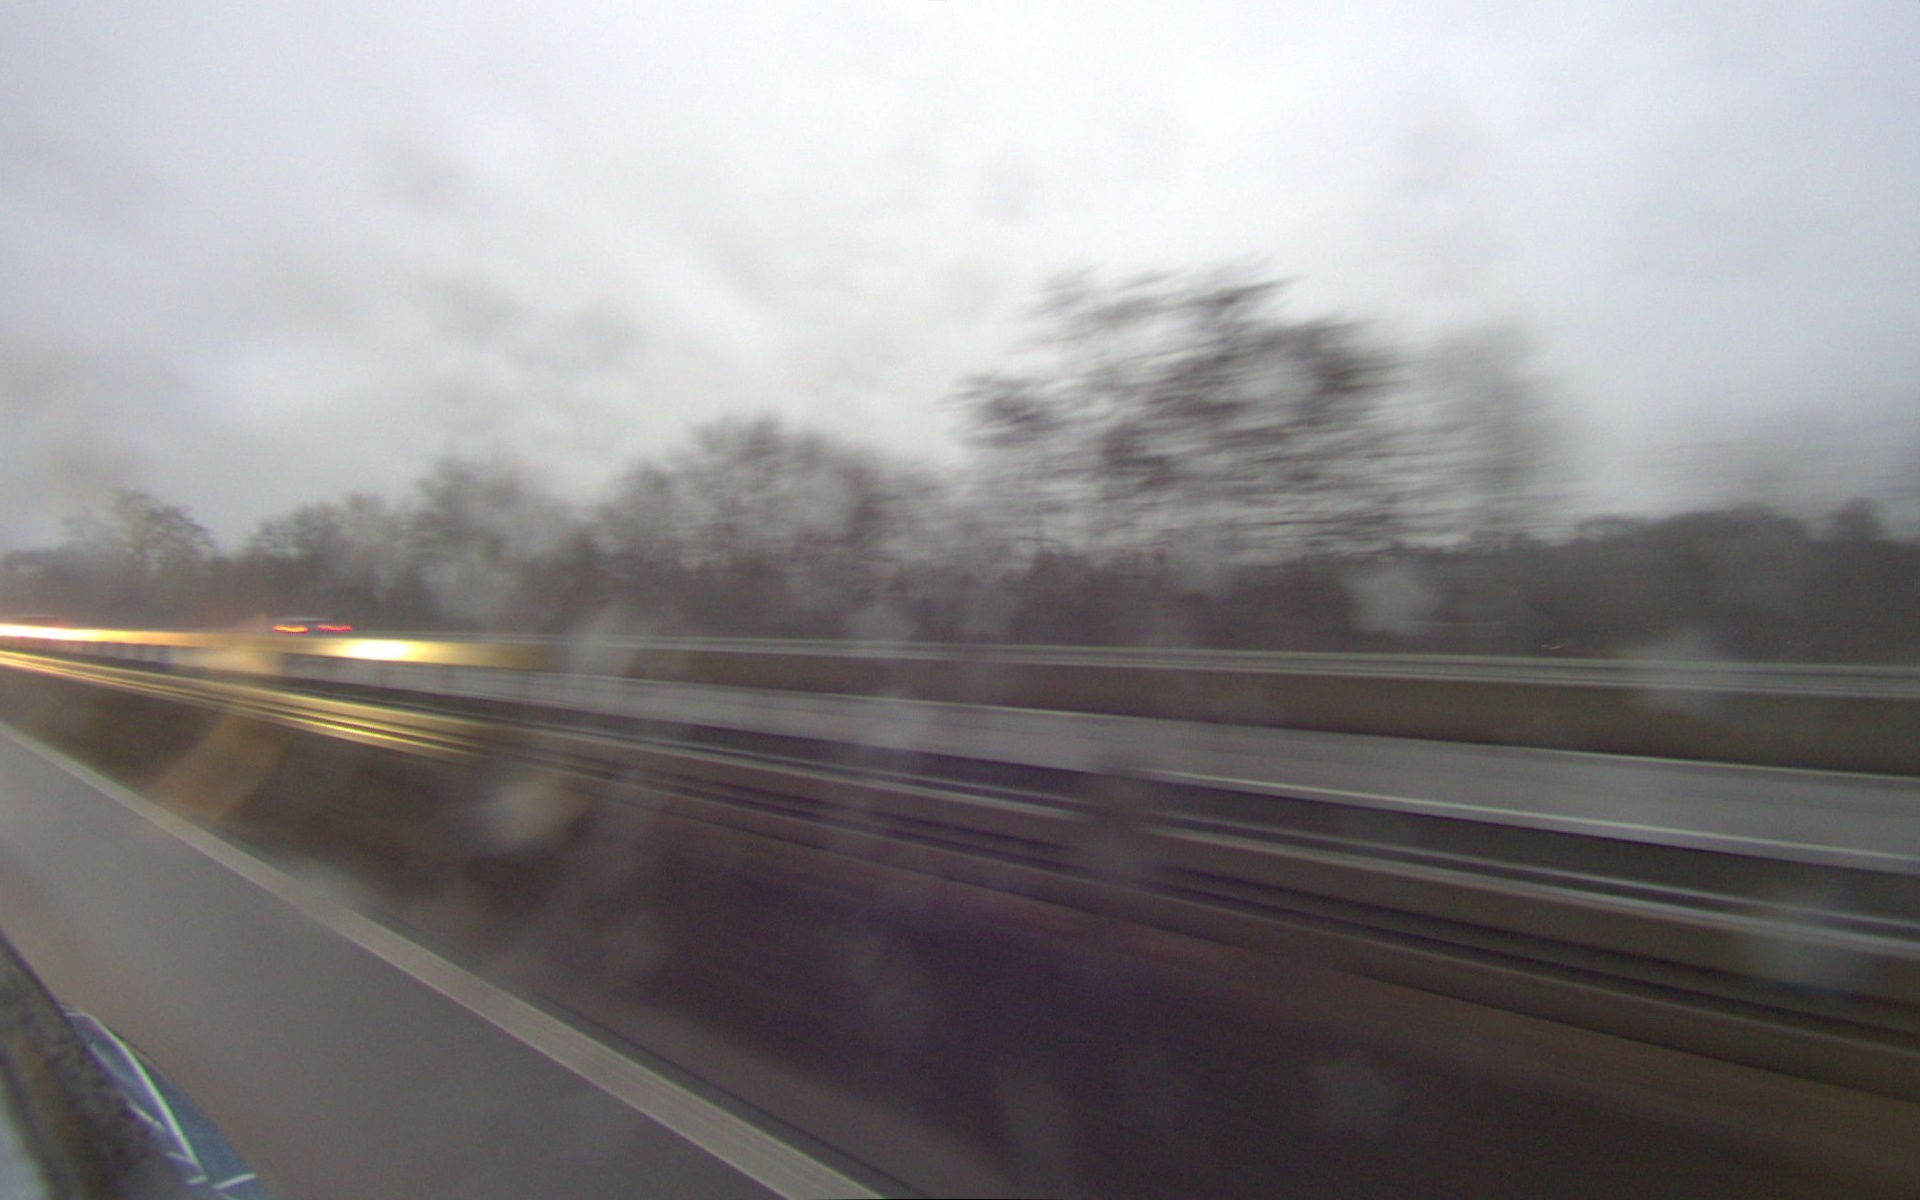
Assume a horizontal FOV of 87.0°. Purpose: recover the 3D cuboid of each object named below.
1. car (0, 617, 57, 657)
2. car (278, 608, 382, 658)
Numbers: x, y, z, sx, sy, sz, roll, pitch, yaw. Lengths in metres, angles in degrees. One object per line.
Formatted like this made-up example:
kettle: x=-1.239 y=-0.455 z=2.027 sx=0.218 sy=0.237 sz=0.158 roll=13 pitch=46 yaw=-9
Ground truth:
car: x=-40.086 y=1.573 z=42.840 sx=4.419 sy=1.434 sz=1.859 roll=-1 pitch=-9 yaw=38
car: x=-19.137 y=0.993 z=30.703 sx=3.542 sy=1.434 sz=1.585 roll=-1 pitch=-2 yaw=38
